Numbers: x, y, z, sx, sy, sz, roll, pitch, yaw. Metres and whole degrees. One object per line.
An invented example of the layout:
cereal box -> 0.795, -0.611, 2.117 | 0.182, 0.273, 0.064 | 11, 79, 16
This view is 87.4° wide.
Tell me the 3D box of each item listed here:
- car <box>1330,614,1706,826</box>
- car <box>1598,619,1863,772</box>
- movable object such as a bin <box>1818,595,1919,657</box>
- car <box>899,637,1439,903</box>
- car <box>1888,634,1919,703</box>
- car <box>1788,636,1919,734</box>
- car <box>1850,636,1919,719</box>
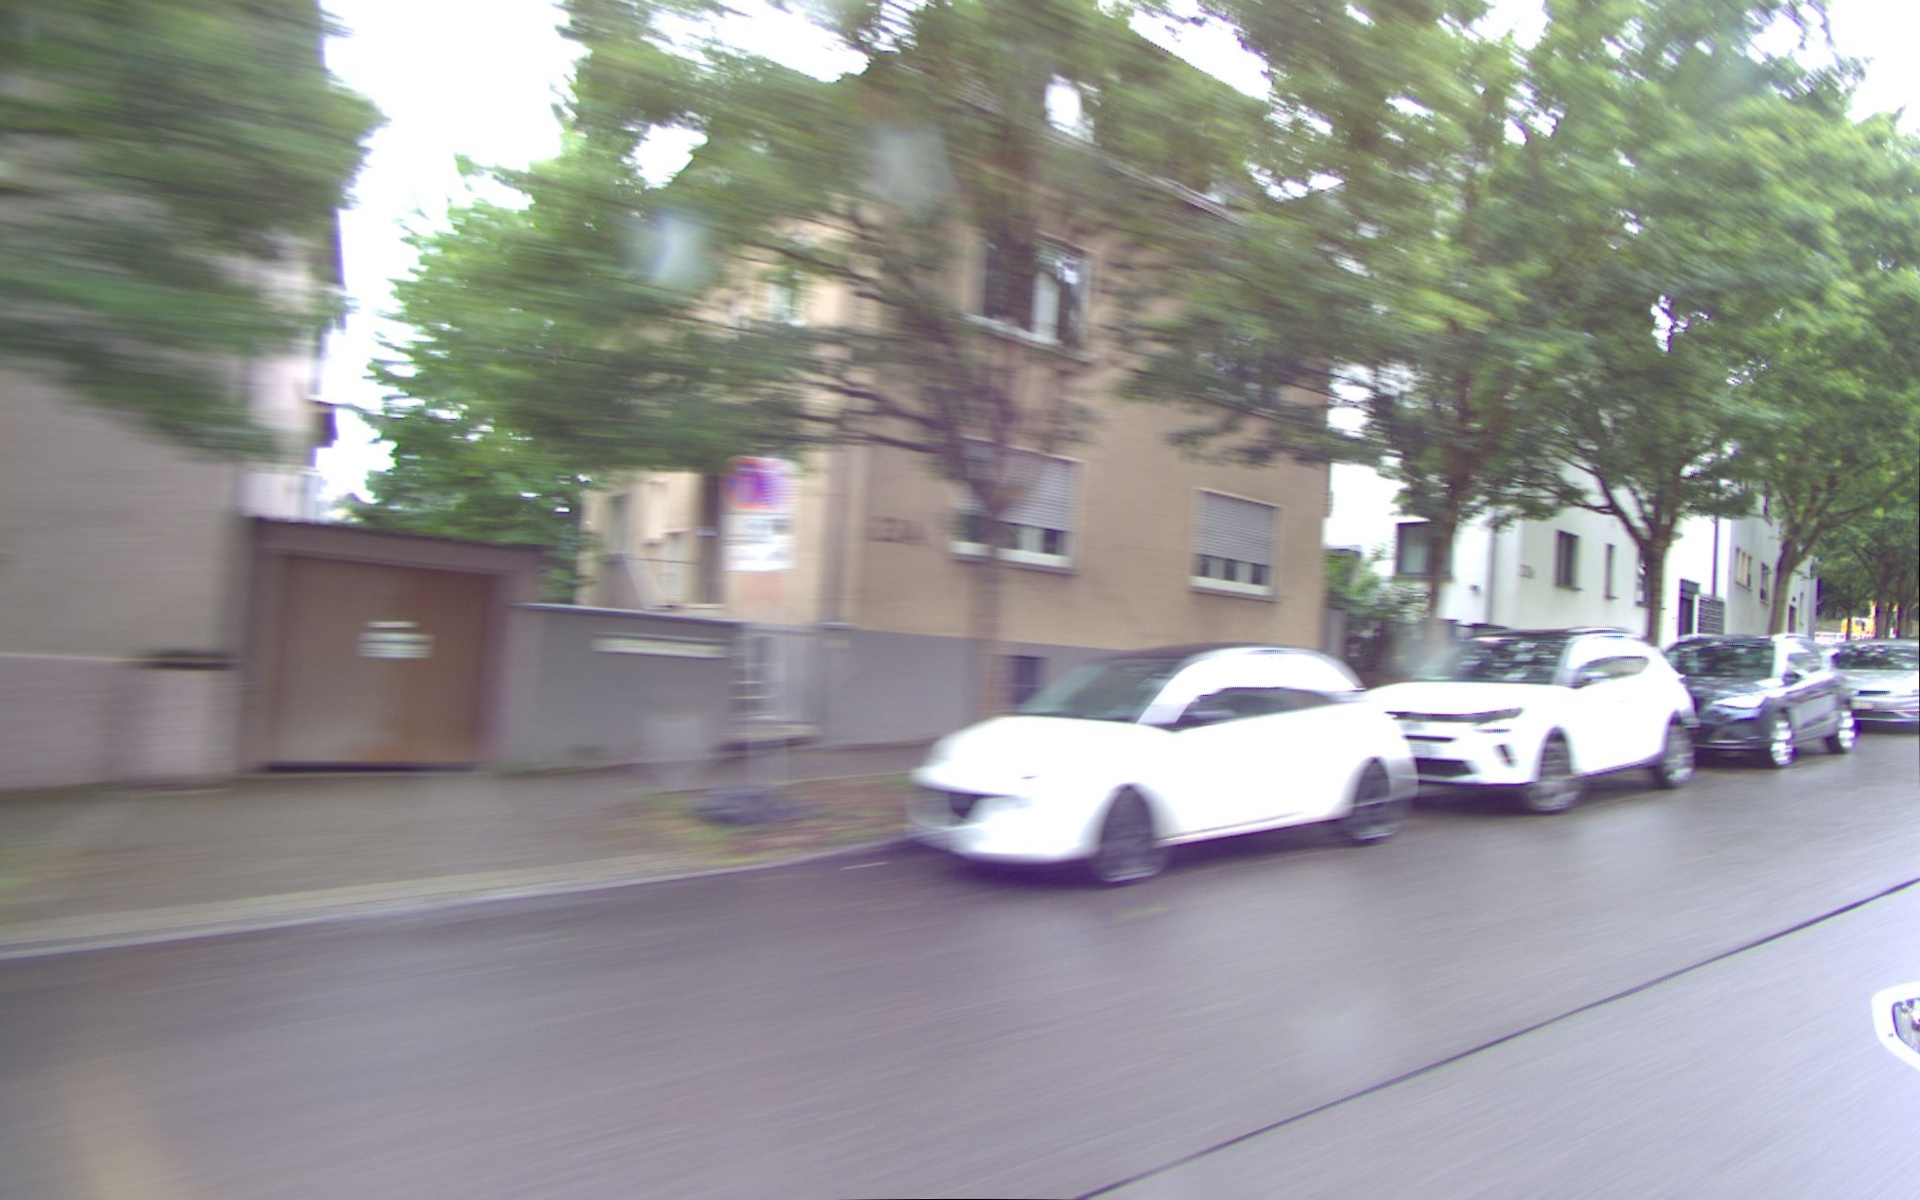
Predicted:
car -> 5.515, 1.088, 9.792 | 3.884, 1.679, 1.583 | 2, -6, -35
car -> 9.922, 1.167, 12.857 | 3.887, 1.679, 1.607 | 2, -5, -36
movable object such as a bin -> 64.167, 1.761, 69.801 | 2.772, 4.068, 7.327 | 1, 0, 1
car -> 1.547, 1.069, 7.264 | 3.624, 1.490, 1.612 | 1, -6, -29
car -> 22.730, 1.540, 22.829 | 4.435, 1.507, 1.652 | 3, -5, -38
car -> 15.786, 1.418, 17.214 | 3.937, 1.489, 1.606 | 3, -5, -38
car -> 18.892, 1.464, 19.657 | 3.439, 1.508, 1.563 | 1, -4, -38
